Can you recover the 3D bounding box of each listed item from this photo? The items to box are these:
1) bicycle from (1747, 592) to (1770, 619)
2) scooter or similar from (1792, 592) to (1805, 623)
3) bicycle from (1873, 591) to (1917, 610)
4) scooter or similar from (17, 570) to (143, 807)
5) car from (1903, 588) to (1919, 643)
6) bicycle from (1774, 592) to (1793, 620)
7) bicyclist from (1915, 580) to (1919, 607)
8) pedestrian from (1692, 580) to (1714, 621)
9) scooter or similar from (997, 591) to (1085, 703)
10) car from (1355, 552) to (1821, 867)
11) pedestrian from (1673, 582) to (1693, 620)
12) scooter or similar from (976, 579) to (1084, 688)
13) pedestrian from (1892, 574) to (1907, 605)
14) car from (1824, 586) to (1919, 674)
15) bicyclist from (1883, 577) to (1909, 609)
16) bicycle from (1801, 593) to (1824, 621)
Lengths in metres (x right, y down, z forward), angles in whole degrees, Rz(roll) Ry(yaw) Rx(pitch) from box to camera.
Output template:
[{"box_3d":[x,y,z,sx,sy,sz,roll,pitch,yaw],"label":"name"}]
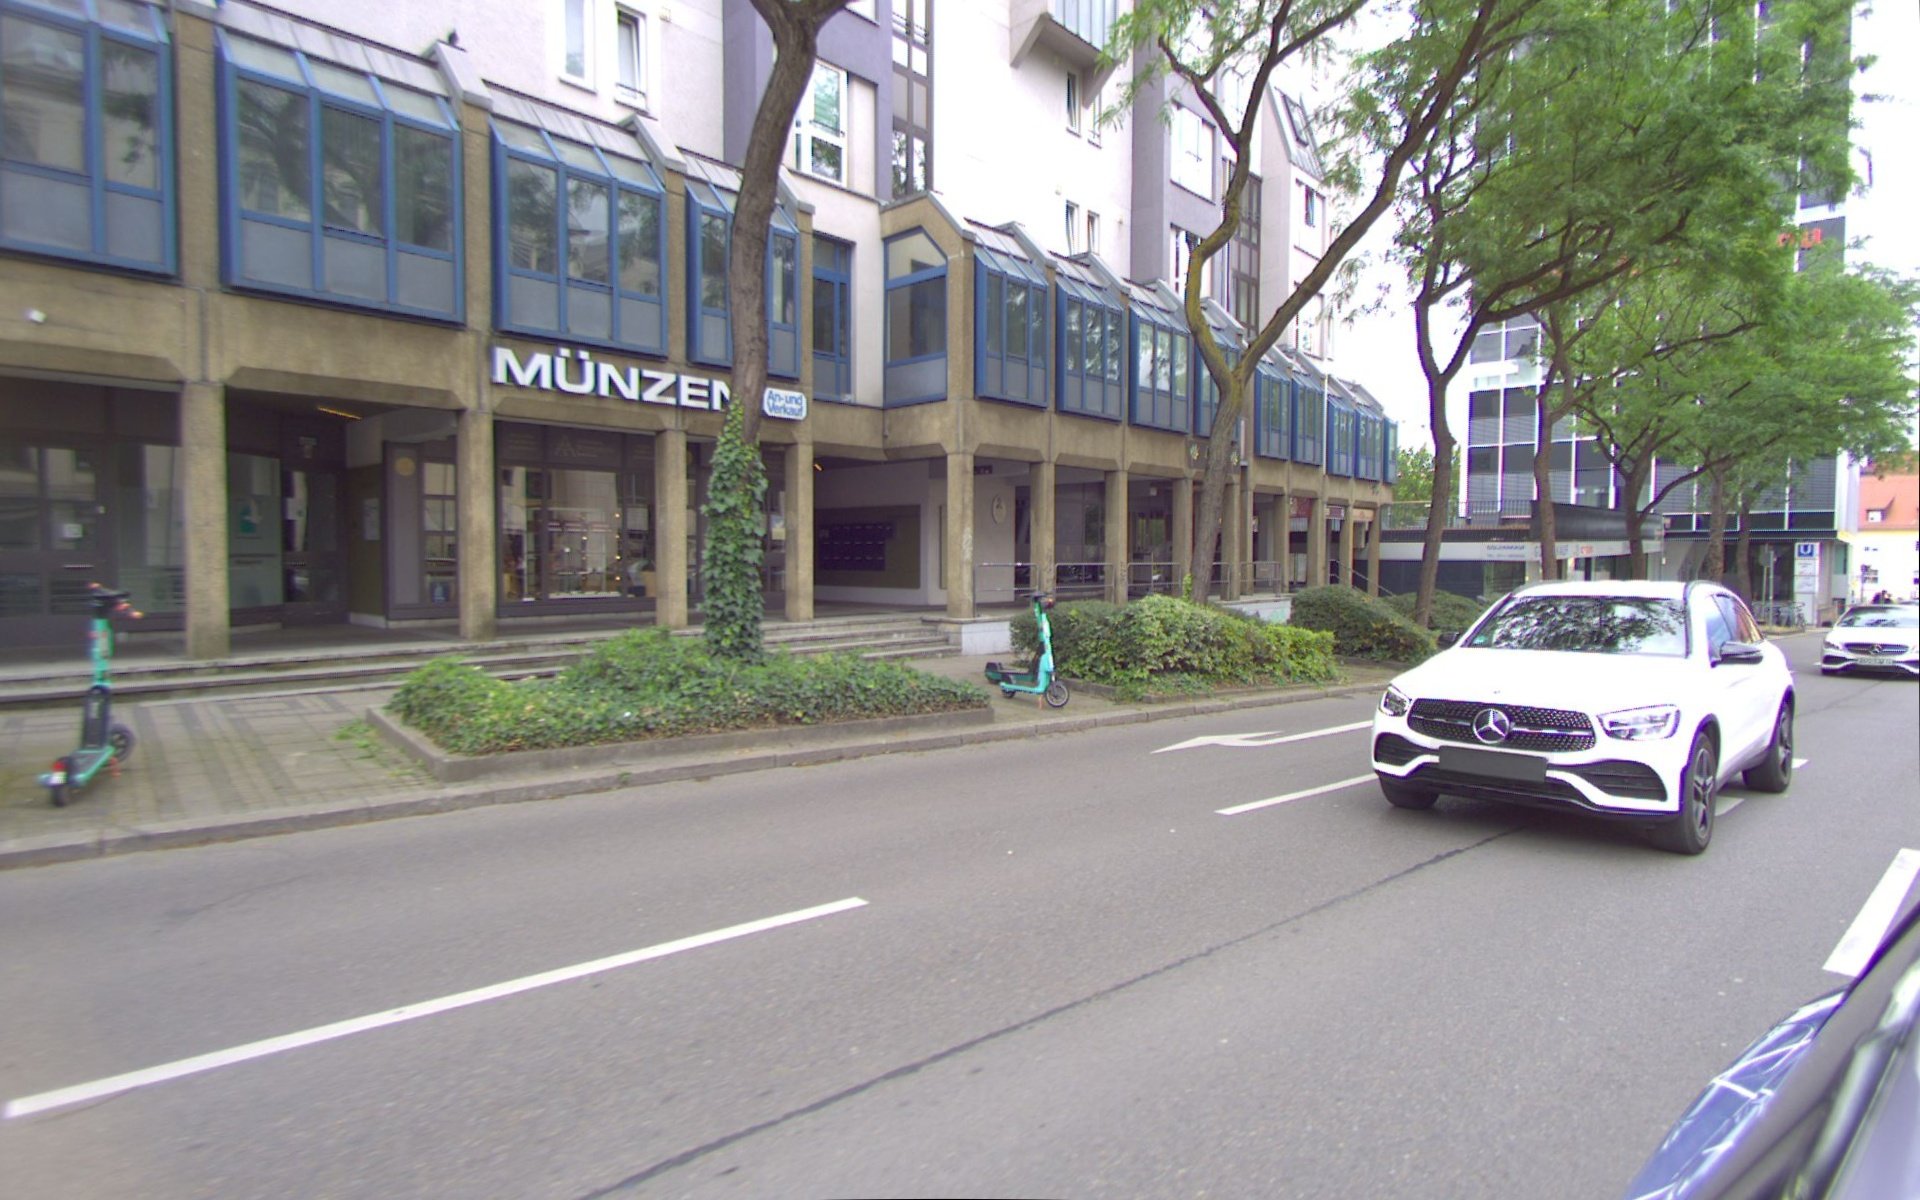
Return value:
[{"box_3d":[35.101,0.220,44.480,1.659,1.146,0.490,0,2,-41],"label":"bicycle"},{"box_3d":[36.093,0.318,43.570,0.305,1.267,0.984,2,2,35],"label":"scooter or similar"},{"box_3d":[55.620,0.018,60.231,0.666,1.019,1.772,3,2,-17],"label":"bicycle"},{"box_3d":[-5.515,0.494,6.387,0.417,1.300,1.167,1,4,-32],"label":"scooter or similar"},{"box_3d":[28.992,0.451,29.589,3.698,1.551,1.706,0,2,-42],"label":"car"},{"box_3d":[35.553,0.263,43.689,0.489,1.146,1.858,2,2,42],"label":"bicycle"},{"box_3d":[57.764,-0.375,60.532,0.558,1.568,0.841,2,3,20],"label":"bicyclist"},{"box_3d":[32.790,0.024,44.666,0.595,1.775,0.926,3,3,43],"label":"pedestrian"},{"box_3d":[0.939,0.527,11.901,0.419,1.196,1.112,1,3,-31],"label":"scooter or similar"},{"box_3d":[4.802,0.539,7.459,4.260,1.667,1.804,-2,0,-42],"label":"car"},{"box_3d":[32.262,0.037,45.161,0.595,1.649,0.746,3,3,43],"label":"pedestrian"},{"box_3d":[0.890,0.401,13.101,0.712,1.284,1.198,0,3,-41],"label":"scooter or similar"},{"box_3d":[53.192,-0.598,57.278,0.525,1.732,0.741,4,5,43],"label":"pedestrian"},{"box_3d":[19.118,0.533,20.510,4.572,1.588,1.868,-1,2,-42],"label":"car"},{"box_3d":[55.635,-0.412,60.182,0.661,1.868,0.816,1,3,-16],"label":"bicyclist"},{"box_3d":[36.126,0.300,42.894,1.812,1.146,0.490,-1,2,-43],"label":"bicycle"}]
